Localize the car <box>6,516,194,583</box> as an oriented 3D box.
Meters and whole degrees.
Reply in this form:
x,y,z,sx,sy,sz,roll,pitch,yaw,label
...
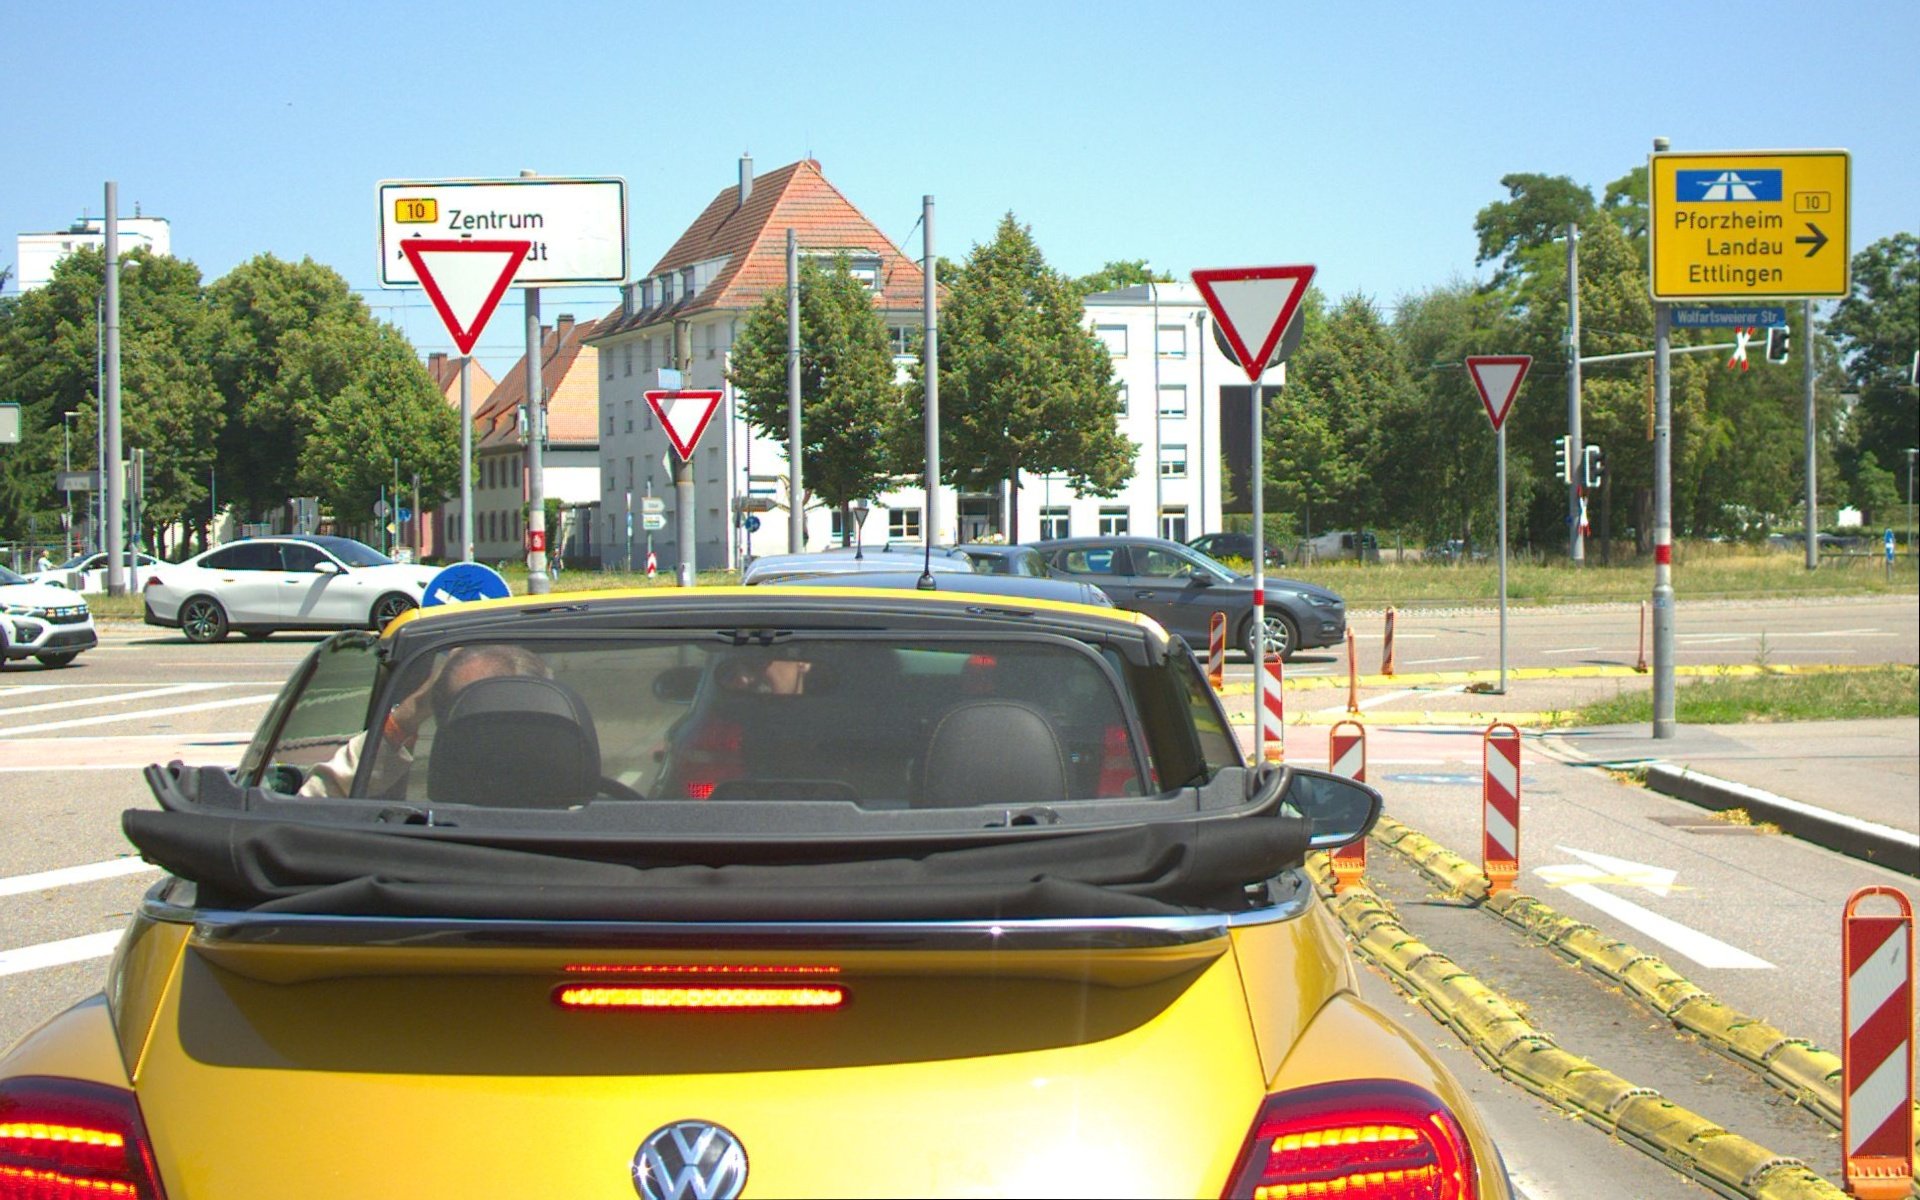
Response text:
x,y,z,sx,sy,sz,roll,pitch,yaw,label
-23.888,-1.396,95.564,4.671,1.821,1.999,-1,1,-39,car

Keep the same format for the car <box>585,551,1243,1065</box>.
x,y,z,sx,sy,sz,roll,pitch,yaw,label
-0.149,0.558,11.677,1.848,1.437,4.000,0,1,-1,car

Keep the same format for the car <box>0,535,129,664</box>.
x,y,z,sx,sy,sz,roll,pitch,yaw,label
-13.000,-0.033,43.406,4.580,1.561,1.998,1,1,22,car

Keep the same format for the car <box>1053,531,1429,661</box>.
x,y,z,sx,sy,sz,roll,pitch,yaw,label
3.271,-0.065,39.538,4.206,1.437,1.999,0,1,8,car

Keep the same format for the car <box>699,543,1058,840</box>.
x,y,z,sx,sy,sz,roll,pitch,yaw,label
-0.416,0.413,18.690,1.736,1.437,4.000,0,1,-1,car

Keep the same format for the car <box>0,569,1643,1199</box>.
x,y,z,sx,sy,sz,roll,pitch,yaw,label
-0.311,0.681,4.877,1.752,1.417,3.778,0,1,-1,car

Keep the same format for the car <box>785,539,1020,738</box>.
x,y,z,sx,sy,sz,roll,pitch,yaw,label
-0.444,0.254,27.490,1.736,1.472,4.000,0,1,-1,car

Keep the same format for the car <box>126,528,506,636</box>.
x,y,z,sx,sy,sz,roll,pitch,yaw,label
-9.241,-0.277,49.432,4.994,1.504,1.999,0,1,14,car

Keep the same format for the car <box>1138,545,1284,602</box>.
x,y,z,sx,sy,sz,roll,pitch,yaw,label
7.837,-0.827,107.347,4.190,1.666,1.947,-1,1,16,car
